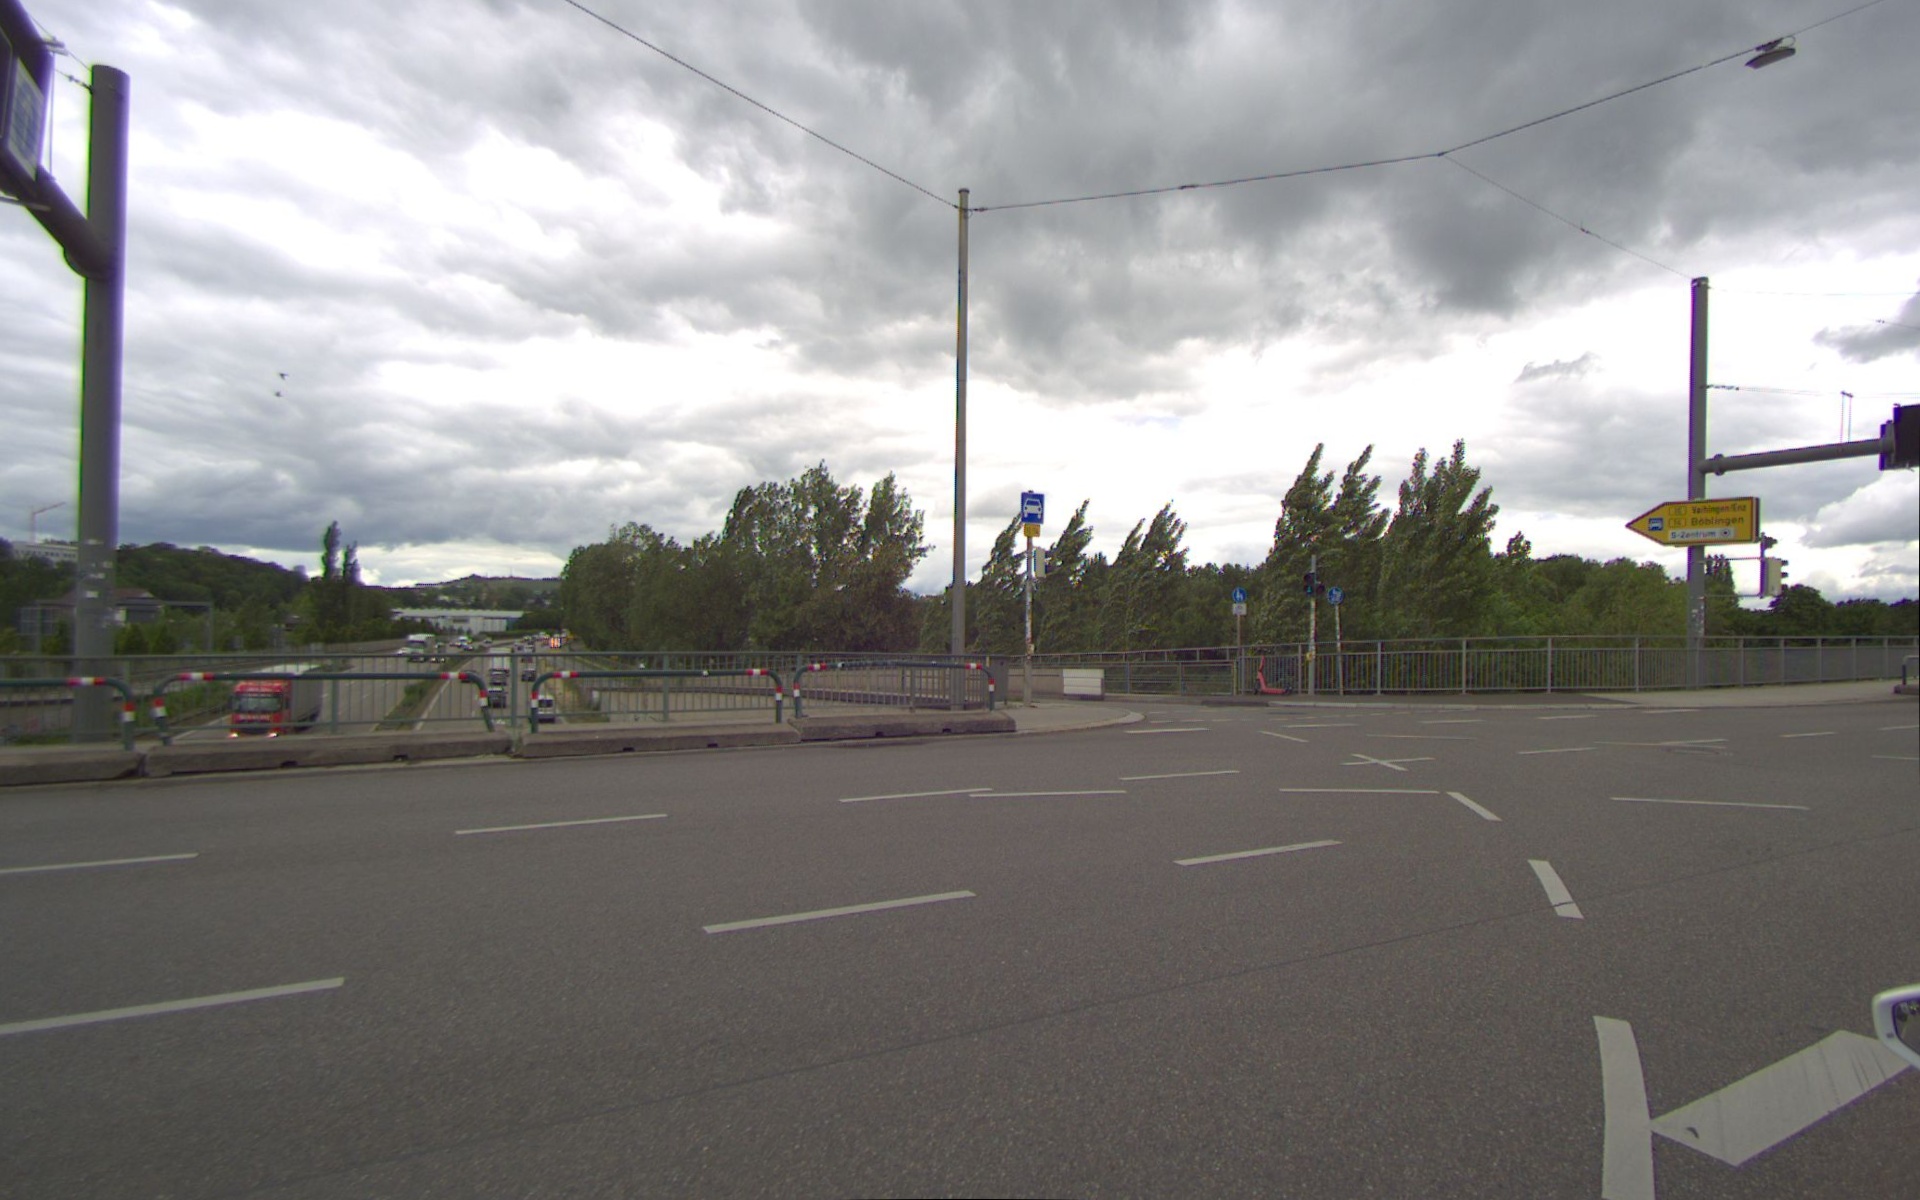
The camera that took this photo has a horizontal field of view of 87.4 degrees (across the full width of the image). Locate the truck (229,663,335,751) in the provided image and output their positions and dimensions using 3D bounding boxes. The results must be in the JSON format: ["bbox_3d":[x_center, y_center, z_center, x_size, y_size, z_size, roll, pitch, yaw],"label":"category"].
[{"bbox_3d":[-42.296,6.428,63.184,2.850,4.413,13.186,2,-2,-23],"label":"truck"}]

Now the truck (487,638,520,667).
[{"bbox_3d":[-59.560,6.792,131.133,3.547,3.501,8.191,4,-3,-24],"label":"truck"}]

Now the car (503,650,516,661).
[{"bbox_3d":[-92.556,11.429,206.347,2.195,2.040,4.614,3,0,-24],"label":"car"}]

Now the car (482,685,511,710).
[{"bbox_3d":[-39.194,8.220,84.953,2.110,1.739,4.397,3,-2,-25],"label":"car"}]

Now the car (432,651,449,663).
[{"bbox_3d":[-82.008,9.037,158.592,1.887,1.739,3.621,3,-4,-23],"label":"car"}]

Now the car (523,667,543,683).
[{"bbox_3d":[-52.404,9.171,123.275,2.110,1.586,4.397,3,-2,-25],"label":"car"}]

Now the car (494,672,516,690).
[{"bbox_3d":[-51.847,9.161,114.365,2.110,1.739,4.397,3,-2,-25],"label":"car"}]

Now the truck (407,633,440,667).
[{"bbox_3d":[-86.430,7.880,162.032,3.331,5.020,13.863,1,-1,-22],"label":"truck"}]

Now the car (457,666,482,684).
[{"bbox_3d":[-56.575,8.588,115.898,2.304,1.740,4.706,-1,0,-23],"label":"car"}]

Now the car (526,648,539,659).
[{"bbox_3d":[-89.912,11.225,211.236,2.562,2.040,4.615,3,-2,-23],"label":"car"}]

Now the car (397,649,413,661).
[{"bbox_3d":[-96.675,9.554,175.023,1.971,2.040,3.981,0,-3,-22],"label":"car"}]

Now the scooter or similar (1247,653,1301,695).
[{"bbox_3d":[8.254,1.946,26.439,0.480,1.070,1.322,1,-3,-36],"label":"scooter or similar"}]

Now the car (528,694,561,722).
[{"bbox_3d":[-32.483,8.431,78.487,2.110,1.739,4.397,3,-2,-25],"label":"car"}]

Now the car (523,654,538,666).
[{"bbox_3d":[-73.398,10.282,171.753,2.110,1.739,4.397,3,-2,-25],"label":"car"}]
